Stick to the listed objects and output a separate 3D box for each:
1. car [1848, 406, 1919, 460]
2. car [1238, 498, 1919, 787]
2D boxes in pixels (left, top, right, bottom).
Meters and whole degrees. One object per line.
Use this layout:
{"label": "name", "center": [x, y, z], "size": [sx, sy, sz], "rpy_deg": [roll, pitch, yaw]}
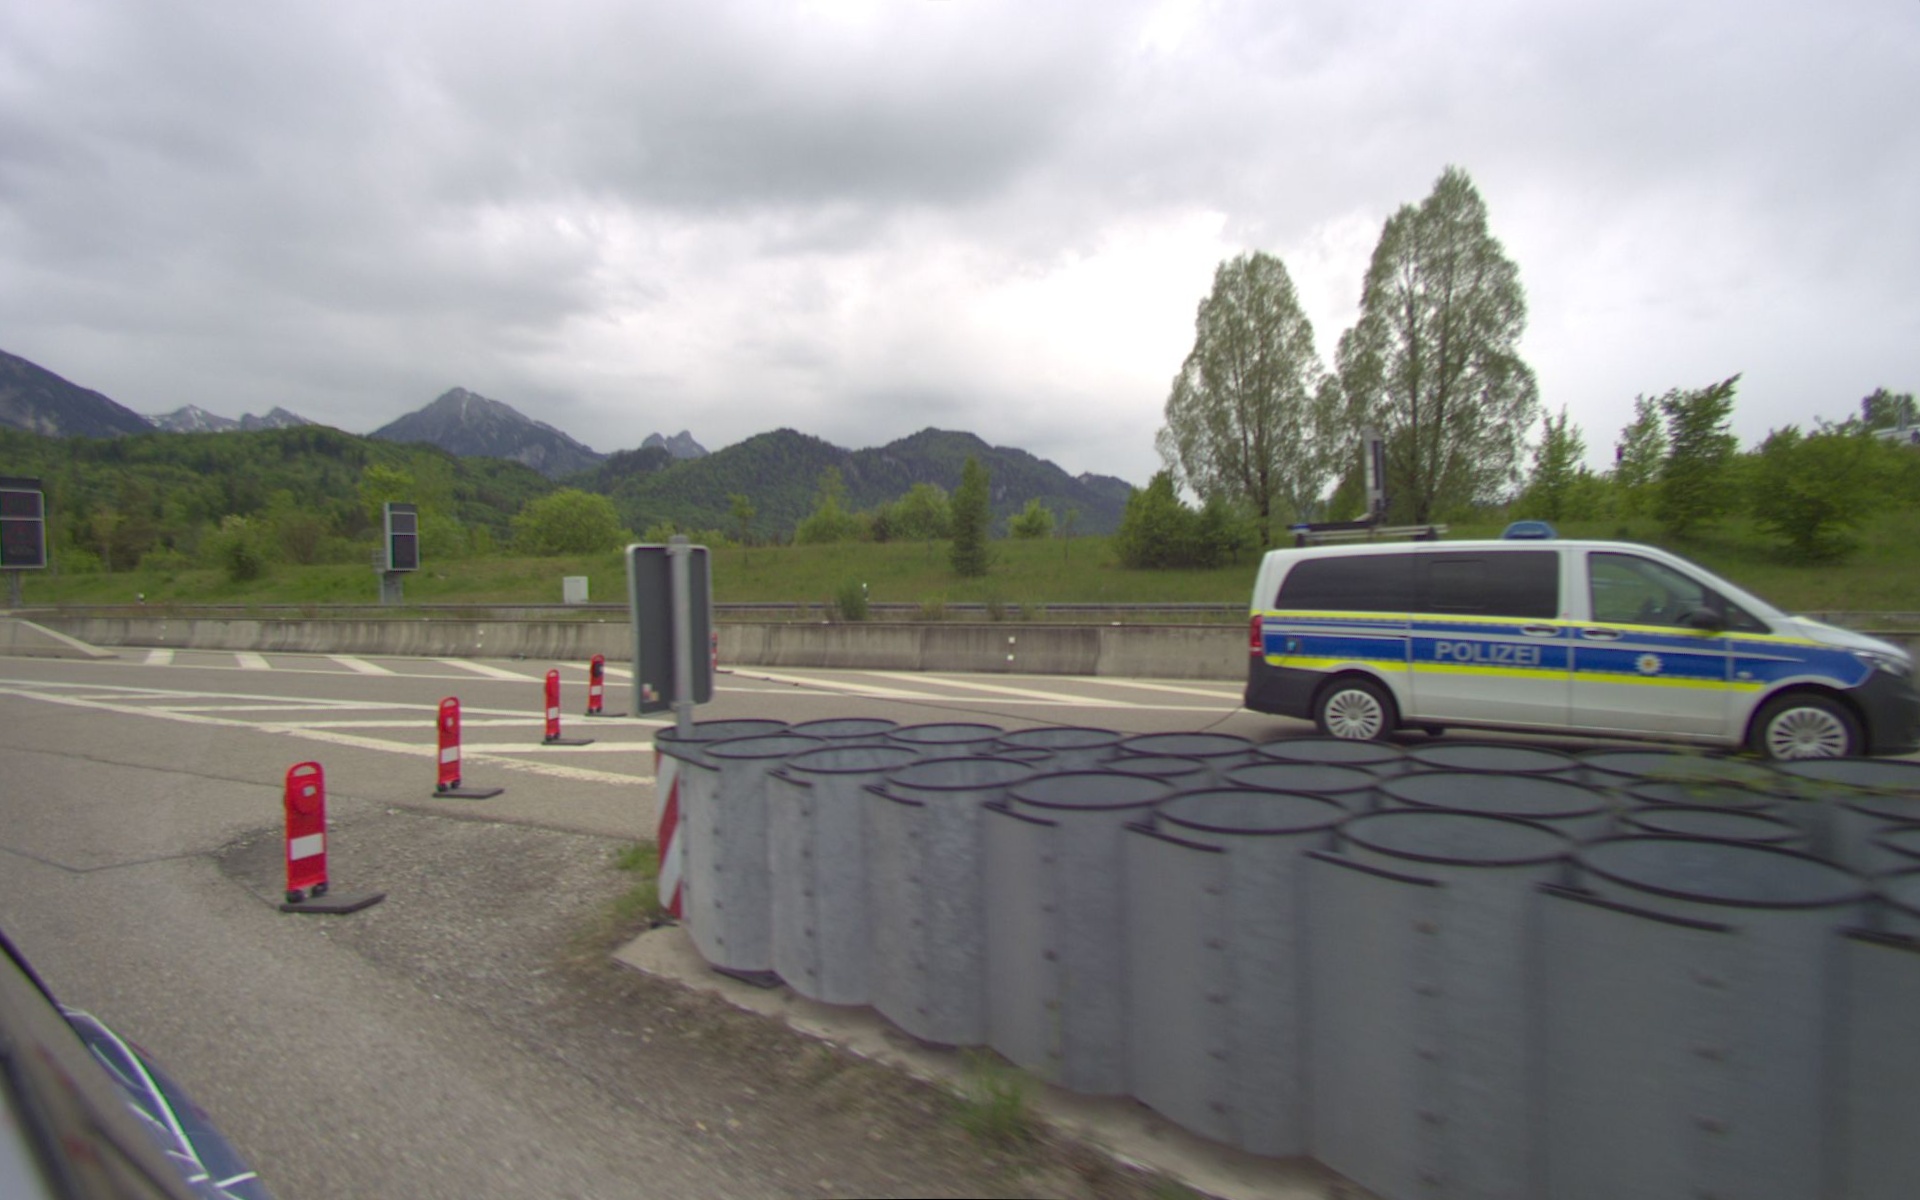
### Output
{"label": "car", "center": [57.361, -10.141, 61.441], "size": [1.974, 2.268, 5.744], "rpy_deg": [0, -3, 4]}
{"label": "car", "center": [5.289, 0.295, 9.153], "size": [5.024, 2.029, 2.273], "rpy_deg": [0, 0, 27]}
